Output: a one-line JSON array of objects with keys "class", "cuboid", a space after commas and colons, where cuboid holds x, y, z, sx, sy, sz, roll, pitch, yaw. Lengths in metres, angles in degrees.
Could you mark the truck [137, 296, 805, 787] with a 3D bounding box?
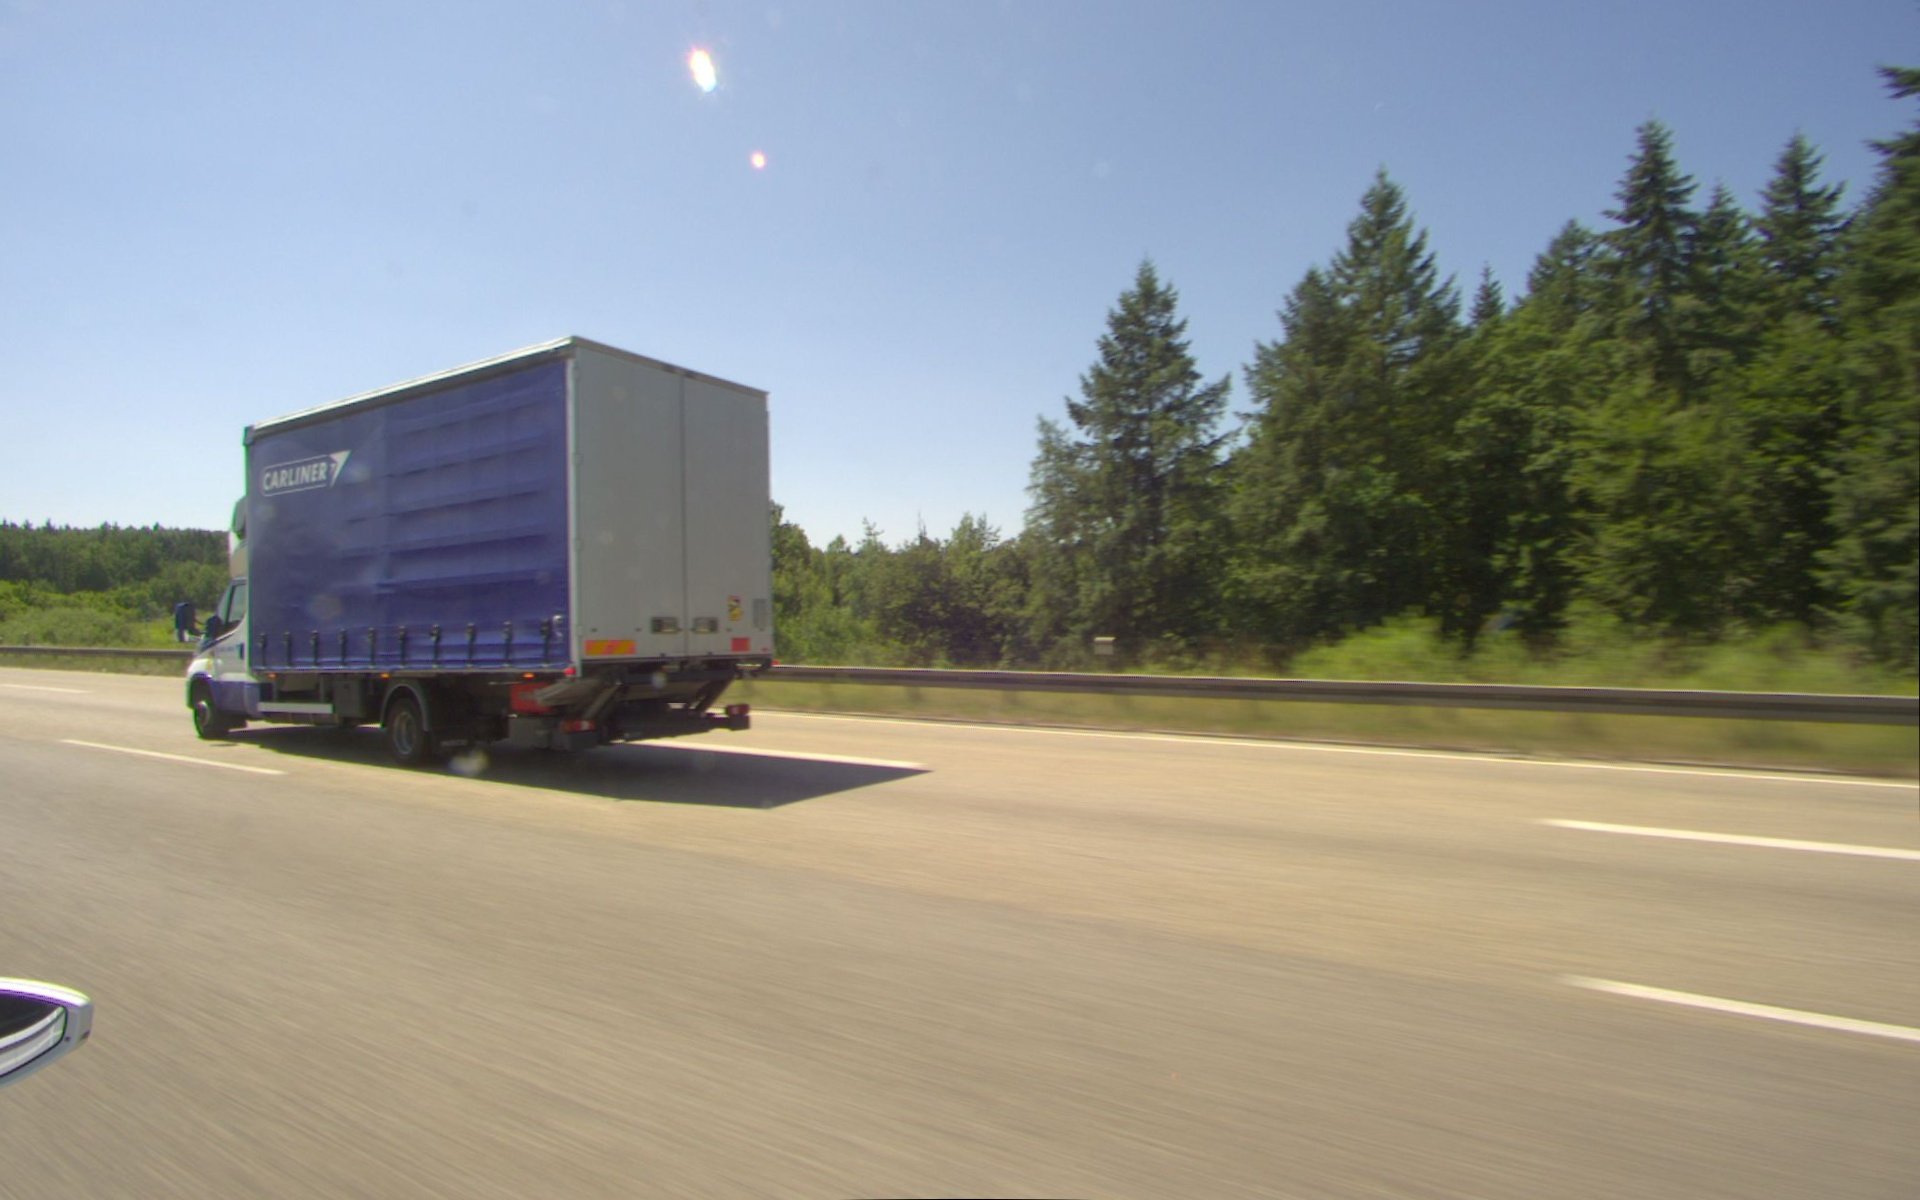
[{"class": "truck", "cuboid": [-6.465, -0.379, 12.300, 9.602, 4.181, 2.778, -1, -2, 33]}]
